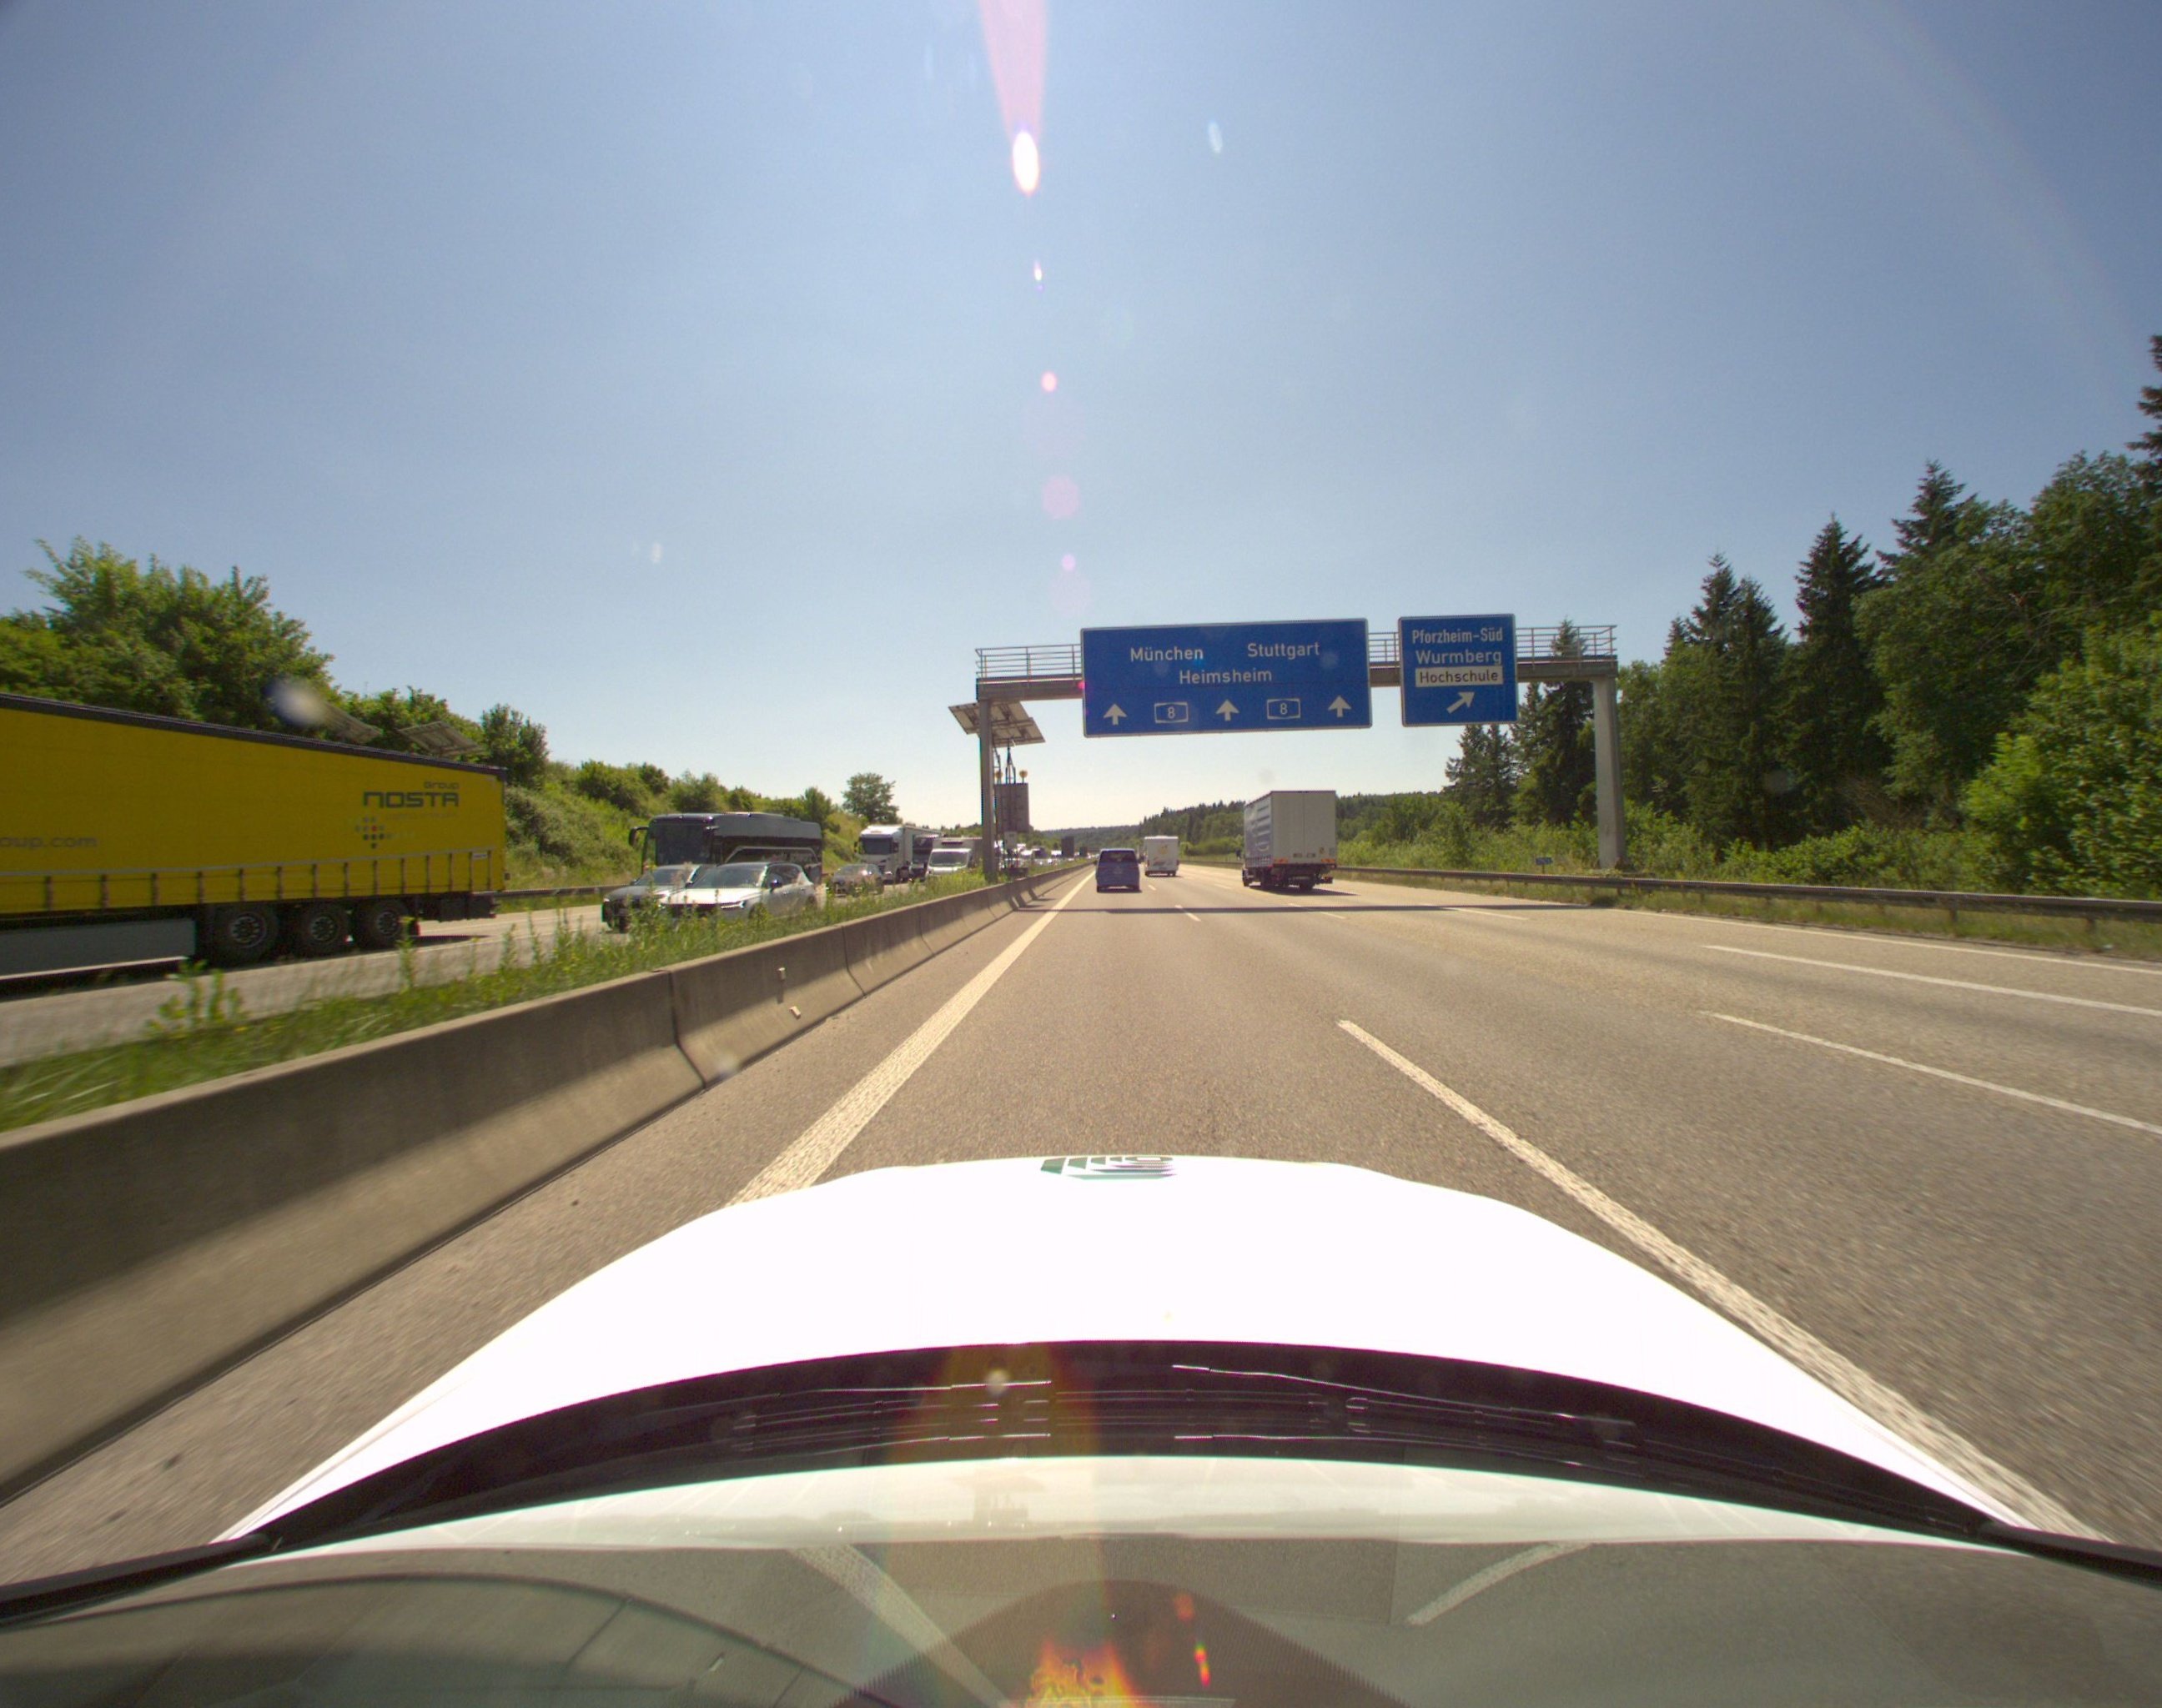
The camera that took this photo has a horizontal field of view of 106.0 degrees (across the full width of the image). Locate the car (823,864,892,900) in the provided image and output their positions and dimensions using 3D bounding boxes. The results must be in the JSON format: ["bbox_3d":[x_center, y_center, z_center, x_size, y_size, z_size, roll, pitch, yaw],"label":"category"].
[{"bbox_3d":[-10.365,1.264,38.100,1.768,1.549,4.762,-1,-1,2],"label":"car"}]

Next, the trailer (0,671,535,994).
[{"bbox_3d":[-15.059,-0.208,14.175,2.640,4.144,11.861,0,-1,2],"label":"trailer"}]

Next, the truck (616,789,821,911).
[{"bbox_3d":[-14.392,-0.046,34.000,3.044,4.222,11.491,0,-1,2],"label":"truck"}]

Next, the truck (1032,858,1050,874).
[{"bbox_3d":[-6.531,1.991,133.617,2.226,2.506,6.864,-1,-1,2],"label":"truck"}]

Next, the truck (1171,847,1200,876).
[{"bbox_3d":[13.567,0.938,106.085,2.916,3.575,8.531,-2,0,2],"label":"truck"}]

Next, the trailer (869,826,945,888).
[{"bbox_3d":[-13.269,0.330,63.407,2.770,4.305,11.719,-1,-1,3],"label":"trailer"}]

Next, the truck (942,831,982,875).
[{"bbox_3d":[-12.198,-0.008,84.101,2.771,4.305,7.032,-1,-1,2],"label":"truck"}]

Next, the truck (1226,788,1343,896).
[{"bbox_3d":[8.643,-0.376,35.991,2.774,4.129,9.737,0,-1,0],"label":"truck"}]

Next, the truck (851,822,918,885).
[{"bbox_3d":[-13.639,0.047,57.139,2.771,4.114,7.032,-1,-1,2],"label":"truck"}]

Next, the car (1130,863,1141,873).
[{"bbox_3d":[9.645,2.419,143.326,1.811,1.794,3.896,0,-1,2],"label":"car"}]

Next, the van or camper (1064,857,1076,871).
[{"bbox_3d":[-2.130,1.975,159.708,2.185,2.506,6.060,-1,-1,2],"label":"van or camper"}]

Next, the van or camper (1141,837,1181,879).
[{"bbox_3d":[6.094,0.241,63.052,2.593,3.078,7.186,0,1,2],"label":"van or camper"}]

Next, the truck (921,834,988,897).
[{"bbox_3d":[-6.107,0.582,40.150,2.112,2.842,6.215,0,-1,2],"label":"truck"}]

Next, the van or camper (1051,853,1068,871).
[{"bbox_3d":[-3.181,1.263,121.778,2.185,2.541,6.418,-1,-1,2],"label":"van or camper"}]

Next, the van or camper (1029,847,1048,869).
[{"bbox_3d":[-6.704,0.669,127.966,2.304,3.390,7.682,-1,-1,2],"label":"van or camper"}]

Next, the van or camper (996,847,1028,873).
[{"bbox_3d":[-8.060,0.794,96.237,2.830,2.948,8.116,0,-1,2],"label":"van or camper"}]

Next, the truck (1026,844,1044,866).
[{"bbox_3d":[-8.862,0.238,158.498,2.564,4.078,9.698,0,-1,2],"label":"truck"}]

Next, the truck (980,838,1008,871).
[{"bbox_3d":[-11.473,0.116,107.959,2.790,4.128,6.144,0,-1,2],"label":"truck"}]

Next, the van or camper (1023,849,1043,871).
[{"bbox_3d":[-6.584,0.876,112.856,2.142,2.923,7.227,0,-1,2],"label":"van or camper"}]

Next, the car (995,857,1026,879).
[{"bbox_3d":[-5.369,1.066,62.713,1.804,1.634,5.032,0,-1,2],"label":"car"}]

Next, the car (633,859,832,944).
[{"bbox_3d":[-6.994,0.893,17.059,1.804,1.513,5.032,0,-1,2],"label":"car"}]

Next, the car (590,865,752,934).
[{"bbox_3d":[-10.482,1.106,21.272,1.768,1.613,4.560,0,-1,2],"label":"car"}]

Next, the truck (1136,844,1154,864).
[{"bbox_3d":[13.475,0.030,172.959,3.474,4.170,8.645,0,-1,2],"label":"truck"}]

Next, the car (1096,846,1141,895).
[{"bbox_3d":[1.631,0.708,36.306,1.902,2.014,4.001,-1,0,1],"label":"car"}]

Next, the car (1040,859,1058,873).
[{"bbox_3d":[-3.967,1.510,101.367,1.804,1.730,4.975,0,-1,2],"label":"car"}]

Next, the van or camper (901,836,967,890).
[{"bbox_3d":[-9.659,0.631,54.501,2.518,3.360,7.949,0,-1,3],"label":"van or camper"}]
